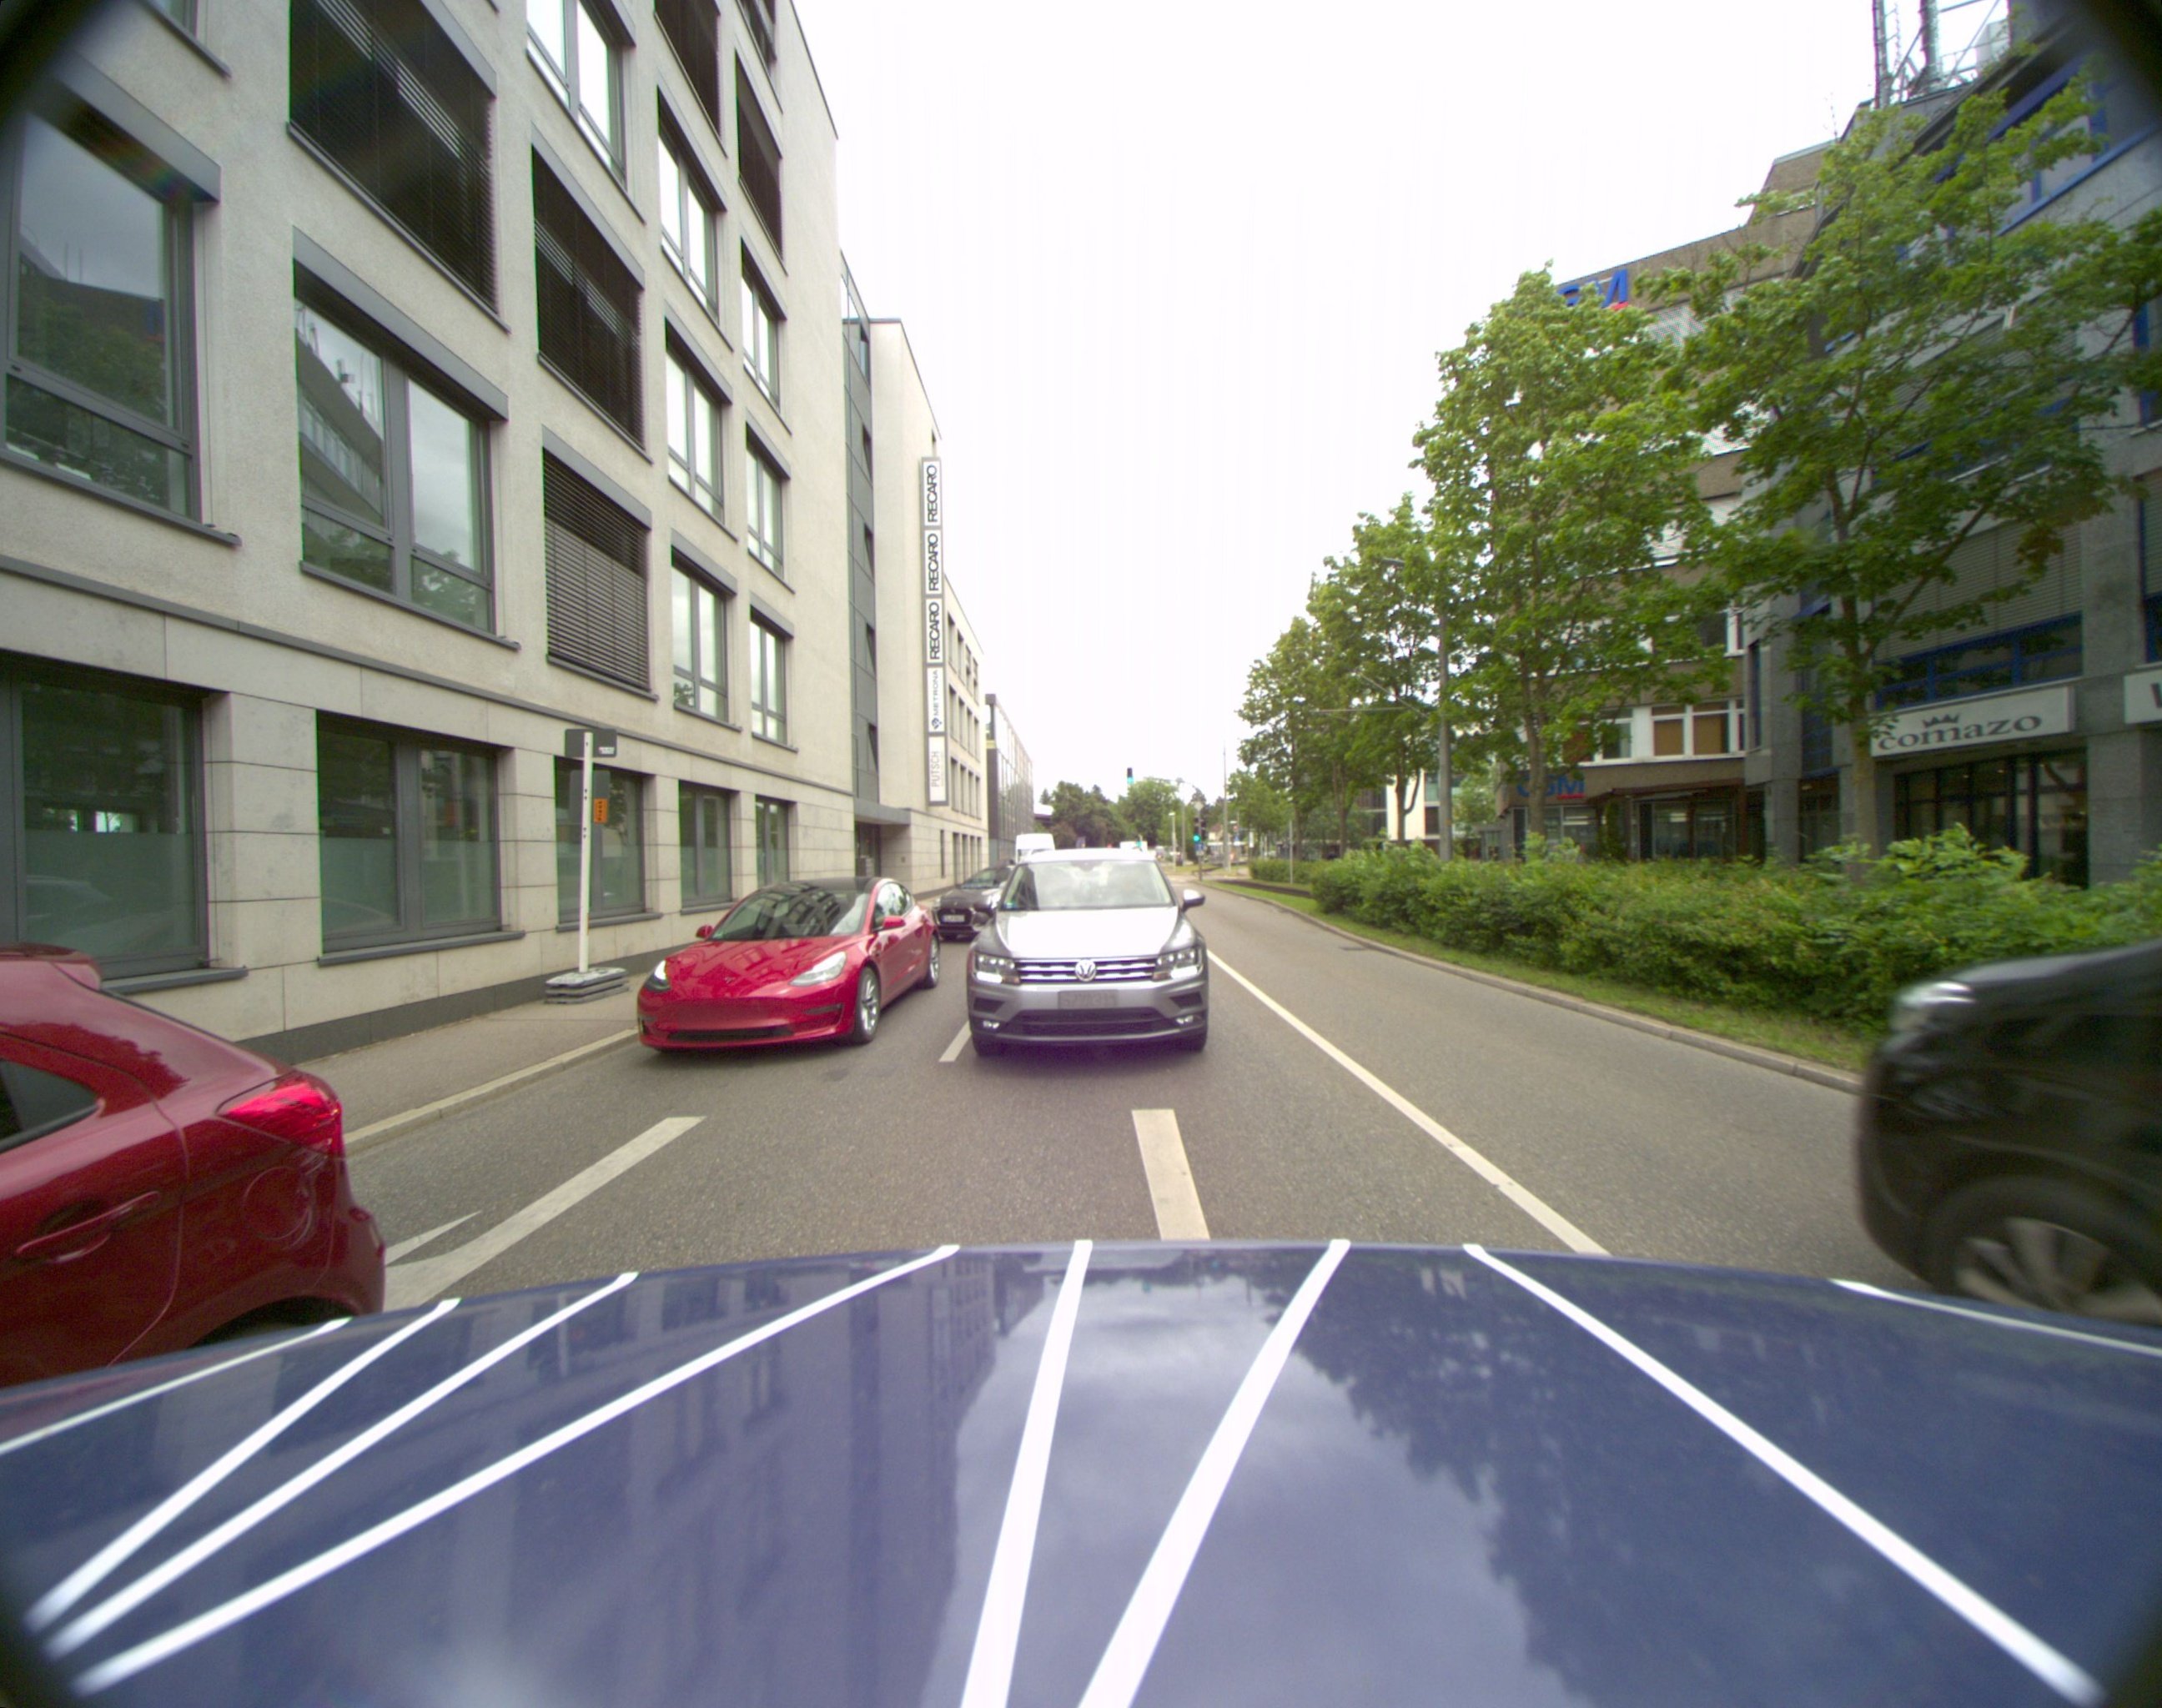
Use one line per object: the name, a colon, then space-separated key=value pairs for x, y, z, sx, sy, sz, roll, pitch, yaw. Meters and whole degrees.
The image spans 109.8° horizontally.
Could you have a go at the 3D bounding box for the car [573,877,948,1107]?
car: x=-2.720 y=1.076 z=7.728 sx=1.825 sy=1.449 sz=4.408 roll=-3 pitch=0 yaw=1

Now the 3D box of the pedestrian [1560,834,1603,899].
pedestrian: x=14.204 y=0.356 z=21.574 sx=0.680 sy=1.795 sz=0.731 roll=-2 pitch=1 yaw=-4

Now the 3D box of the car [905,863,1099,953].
car: x=-1.497 y=1.013 z=15.510 sx=1.742 sy=1.449 sz=3.741 roll=-3 pitch=0 yaw=38

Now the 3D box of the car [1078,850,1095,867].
car: x=0.720 y=0.602 z=96.190 sx=1.998 sy=2.002 sz=4.000 roll=-2 pitch=1 yaw=1

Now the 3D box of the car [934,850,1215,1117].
car: x=-0.010 y=0.839 z=7.191 sx=1.798 sy=1.716 sz=4.458 roll=-1 pitch=0 yaw=1

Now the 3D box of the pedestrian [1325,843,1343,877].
pedestrian: x=14.769 y=0.333 z=44.372 sx=0.816 sy=1.912 sz=0.731 roll=-2 pitch=1 yaw=0

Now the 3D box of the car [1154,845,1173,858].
car: x=13.929 y=-0.456 z=128.057 sx=1.995 sy=2.002 sz=4.006 roll=-1 pitch=1 yaw=24

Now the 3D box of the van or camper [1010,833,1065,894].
van or camper: x=-2.243 y=0.392 z=37.266 sx=2.114 sy=2.718 sz=6.147 roll=-2 pitch=1 yaw=-8

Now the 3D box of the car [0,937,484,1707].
car: x=-2.728 y=1.032 z=0.186 sx=1.890 sy=1.483 sz=4.000 roll=-4 pitch=0 yaw=1

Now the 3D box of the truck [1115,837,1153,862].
truck: x=8.206 y=-0.702 z=116.924 sx=2.317 sy=3.626 sz=8.024 roll=-1 pitch=1 yaw=31
